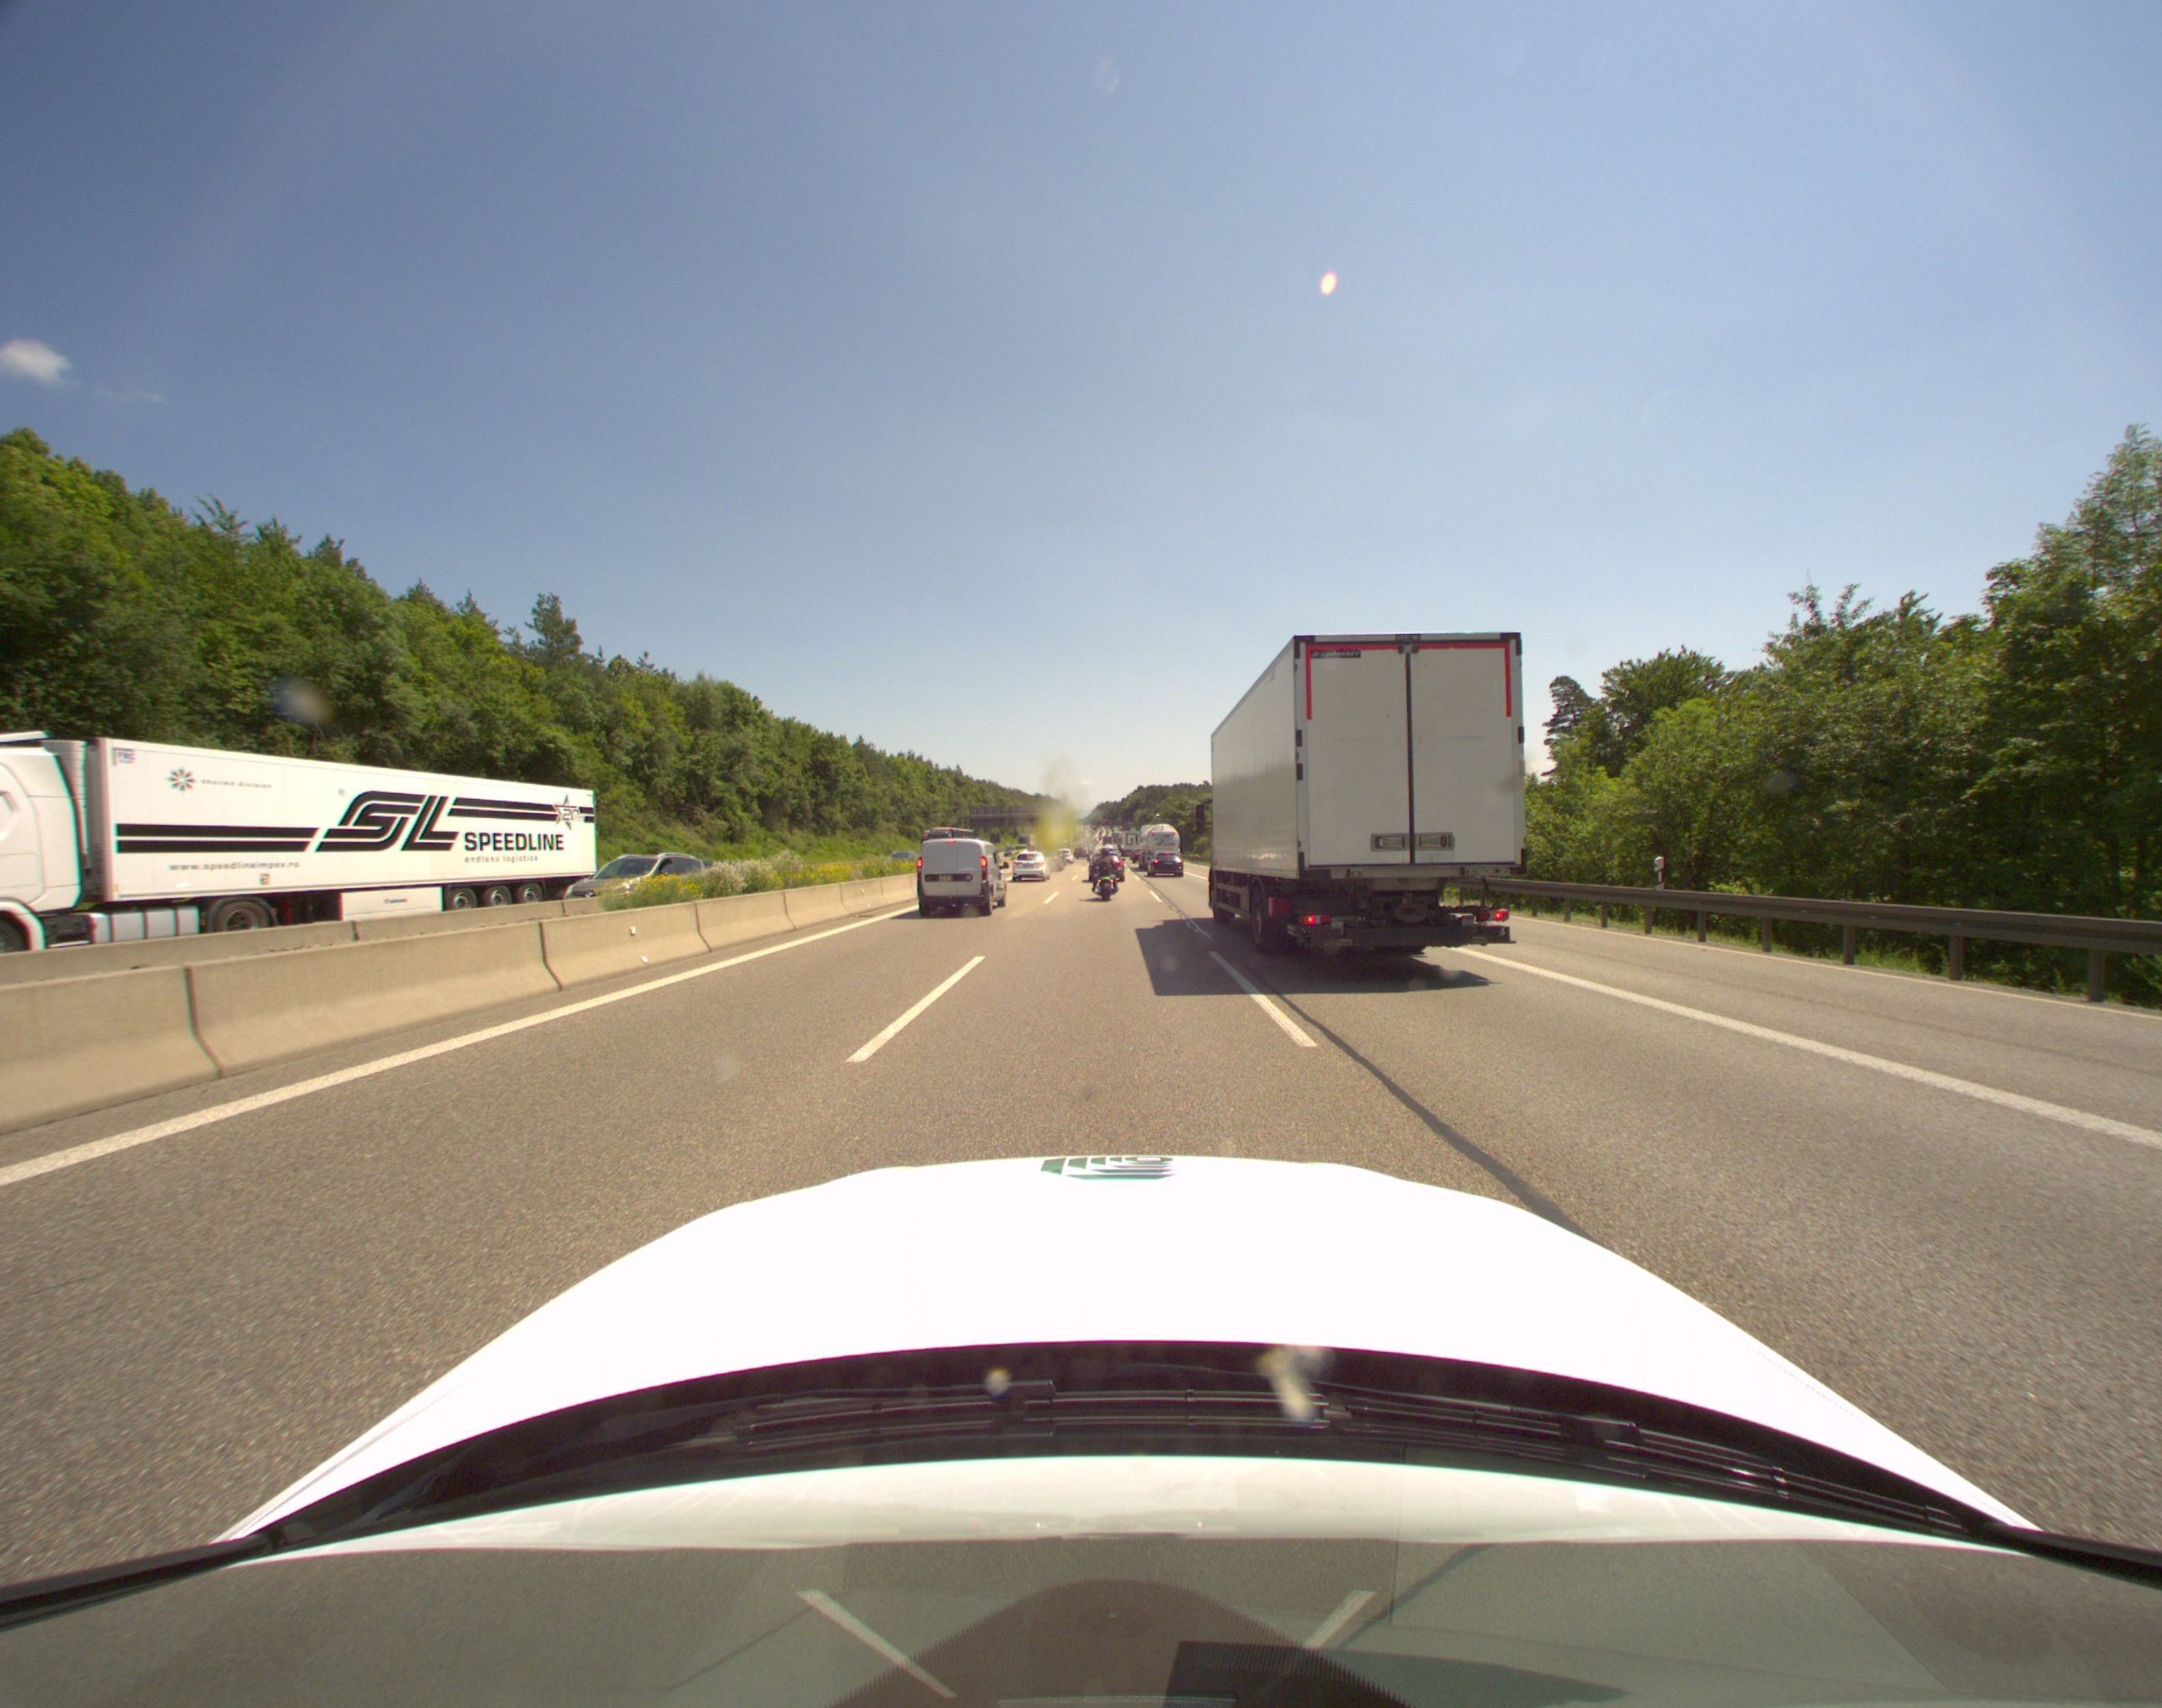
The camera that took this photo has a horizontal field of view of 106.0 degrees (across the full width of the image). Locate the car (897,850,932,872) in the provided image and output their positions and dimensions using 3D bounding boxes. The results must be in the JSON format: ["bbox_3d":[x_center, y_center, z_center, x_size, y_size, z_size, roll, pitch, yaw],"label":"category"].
[{"bbox_3d":[-12.144,0.486,59.711,1.557,1.519,4.002,-2,0,2],"label":"car"}]

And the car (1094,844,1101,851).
[{"bbox_3d":[4.772,-1.811,241.532,1.986,2.013,4.002,-1,0,2],"label":"car"}]

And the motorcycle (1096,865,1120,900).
[{"bbox_3d":[0.858,0.889,25.680,0.688,1.015,2.123,-1,0,3],"label":"motorcycle"}]

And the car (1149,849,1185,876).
[{"bbox_3d":[4.972,0.482,47.355,1.822,1.470,4.002,0,0,2],"label":"car"}]

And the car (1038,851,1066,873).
[{"bbox_3d":[-2.062,0.576,58.586,1.693,1.478,4.002,-1,0,2],"label":"car"}]

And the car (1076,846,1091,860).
[{"bbox_3d":[0.343,-0.098,110.236,1.873,1.859,4.002,-1,0,2],"label":"car"}]

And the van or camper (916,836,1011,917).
[{"bbox_3d":[-2.946,0.537,21.266,1.790,1.892,4.160,-1,0,1],"label":"van or camper"}]

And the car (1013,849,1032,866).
[{"bbox_3d":[-7.700,0.465,107.516,1.872,2.013,4.471,-4,-1,2],"label":"car"}]

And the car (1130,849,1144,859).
[{"bbox_3d":[7.446,-0.013,108.354,1.780,1.374,3.805,-1,0,2],"label":"car"}]

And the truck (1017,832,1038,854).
[{"bbox_3d":[-12.189,-2.441,185.286,3.710,4.528,7.330,-3,-1,2],"label":"truck"}]

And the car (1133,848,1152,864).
[{"bbox_3d":[6.544,0.177,86.918,1.780,1.555,3.805,-1,0,2],"label":"car"}]

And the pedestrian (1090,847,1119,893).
[{"bbox_3d":[0.756,0.493,25.803,0.846,1.361,0.962,-3,0,3],"label":"pedestrian"}]

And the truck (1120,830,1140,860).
[{"bbox_3d":[7.843,-1.454,131.307,3.022,4.542,9.987,0,1,2],"label":"truck"}]

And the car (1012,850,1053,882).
[{"bbox_3d":[-2.435,0.586,41.597,1.693,1.478,4.002,-1,0,2],"label":"car"}]

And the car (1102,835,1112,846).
[{"bbox_3d":[6.474,-3.325,204.819,2.495,2.587,5.019,-1,0,2],"label":"car"}]

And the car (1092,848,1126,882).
[{"bbox_3d":[1.387,0.530,40.379,1.527,1.510,4.001,-3,0,1],"label":"car"}]

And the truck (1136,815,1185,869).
[{"bbox_3d":[5.908,-0.825,61.964,2.976,3.671,9.292,-3,-1,2],"label":"truck"}]

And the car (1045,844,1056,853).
[{"bbox_3d":[-7.725,-1.373,206.888,1.986,2.377,7.368,-1,0,2],"label":"car"}]

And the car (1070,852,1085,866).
[{"bbox_3d":[-0.516,0.738,121.484,1.986,2.013,4.002,-3,-1,2],"label":"car"}]

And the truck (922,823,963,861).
[{"bbox_3d":[-15.559,-1.305,92.158,2.895,3.974,7.772,-3,-1,2],"label":"truck"}]

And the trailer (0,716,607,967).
[{"bbox_3d":[-18.204,-0.153,21.371,2.793,4.338,14.041,-3,0,2],"label":"trailer"}]

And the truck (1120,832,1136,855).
[{"bbox_3d":[9.605,-2.153,168.160,3.022,4.542,9.987,0,1,2],"label":"truck"}]

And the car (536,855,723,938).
[{"bbox_3d":[-11.167,0.968,20.650,1.876,1.756,4.789,-3,-1,2],"label":"car"}]

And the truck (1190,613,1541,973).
[{"bbox_3d":[3.857,-0.695,14.056,2.678,3.876,9.784,-4,0,2],"label":"truck"}]

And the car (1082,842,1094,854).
[{"bbox_3d":[1.267,-1.050,152.072,1.922,2.013,4.002,-3,-1,2],"label":"car"}]

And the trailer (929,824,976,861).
[{"bbox_3d":[-15.357,-1.283,98.447,2.895,3.974,13.894,-3,-1,2],"label":"trailer"}]

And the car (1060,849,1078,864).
[{"bbox_3d":[-1.205,0.209,83.164,1.693,1.478,4.002,-1,0,2],"label":"car"}]

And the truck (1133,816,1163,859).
[{"bbox_3d":[5.745,-1.363,70.735,1.987,3.522,4.750,-3,-1,0],"label":"truck"}]

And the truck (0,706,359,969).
[{"bbox_3d":[-18.381,-0.194,15.183,2.793,4.165,7.602,-3,-1,2],"label":"truck"}]

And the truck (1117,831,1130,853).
[{"bbox_3d":[10.307,-2.873,197.939,3.022,5.139,9.987,0,0,2],"label":"truck"}]
